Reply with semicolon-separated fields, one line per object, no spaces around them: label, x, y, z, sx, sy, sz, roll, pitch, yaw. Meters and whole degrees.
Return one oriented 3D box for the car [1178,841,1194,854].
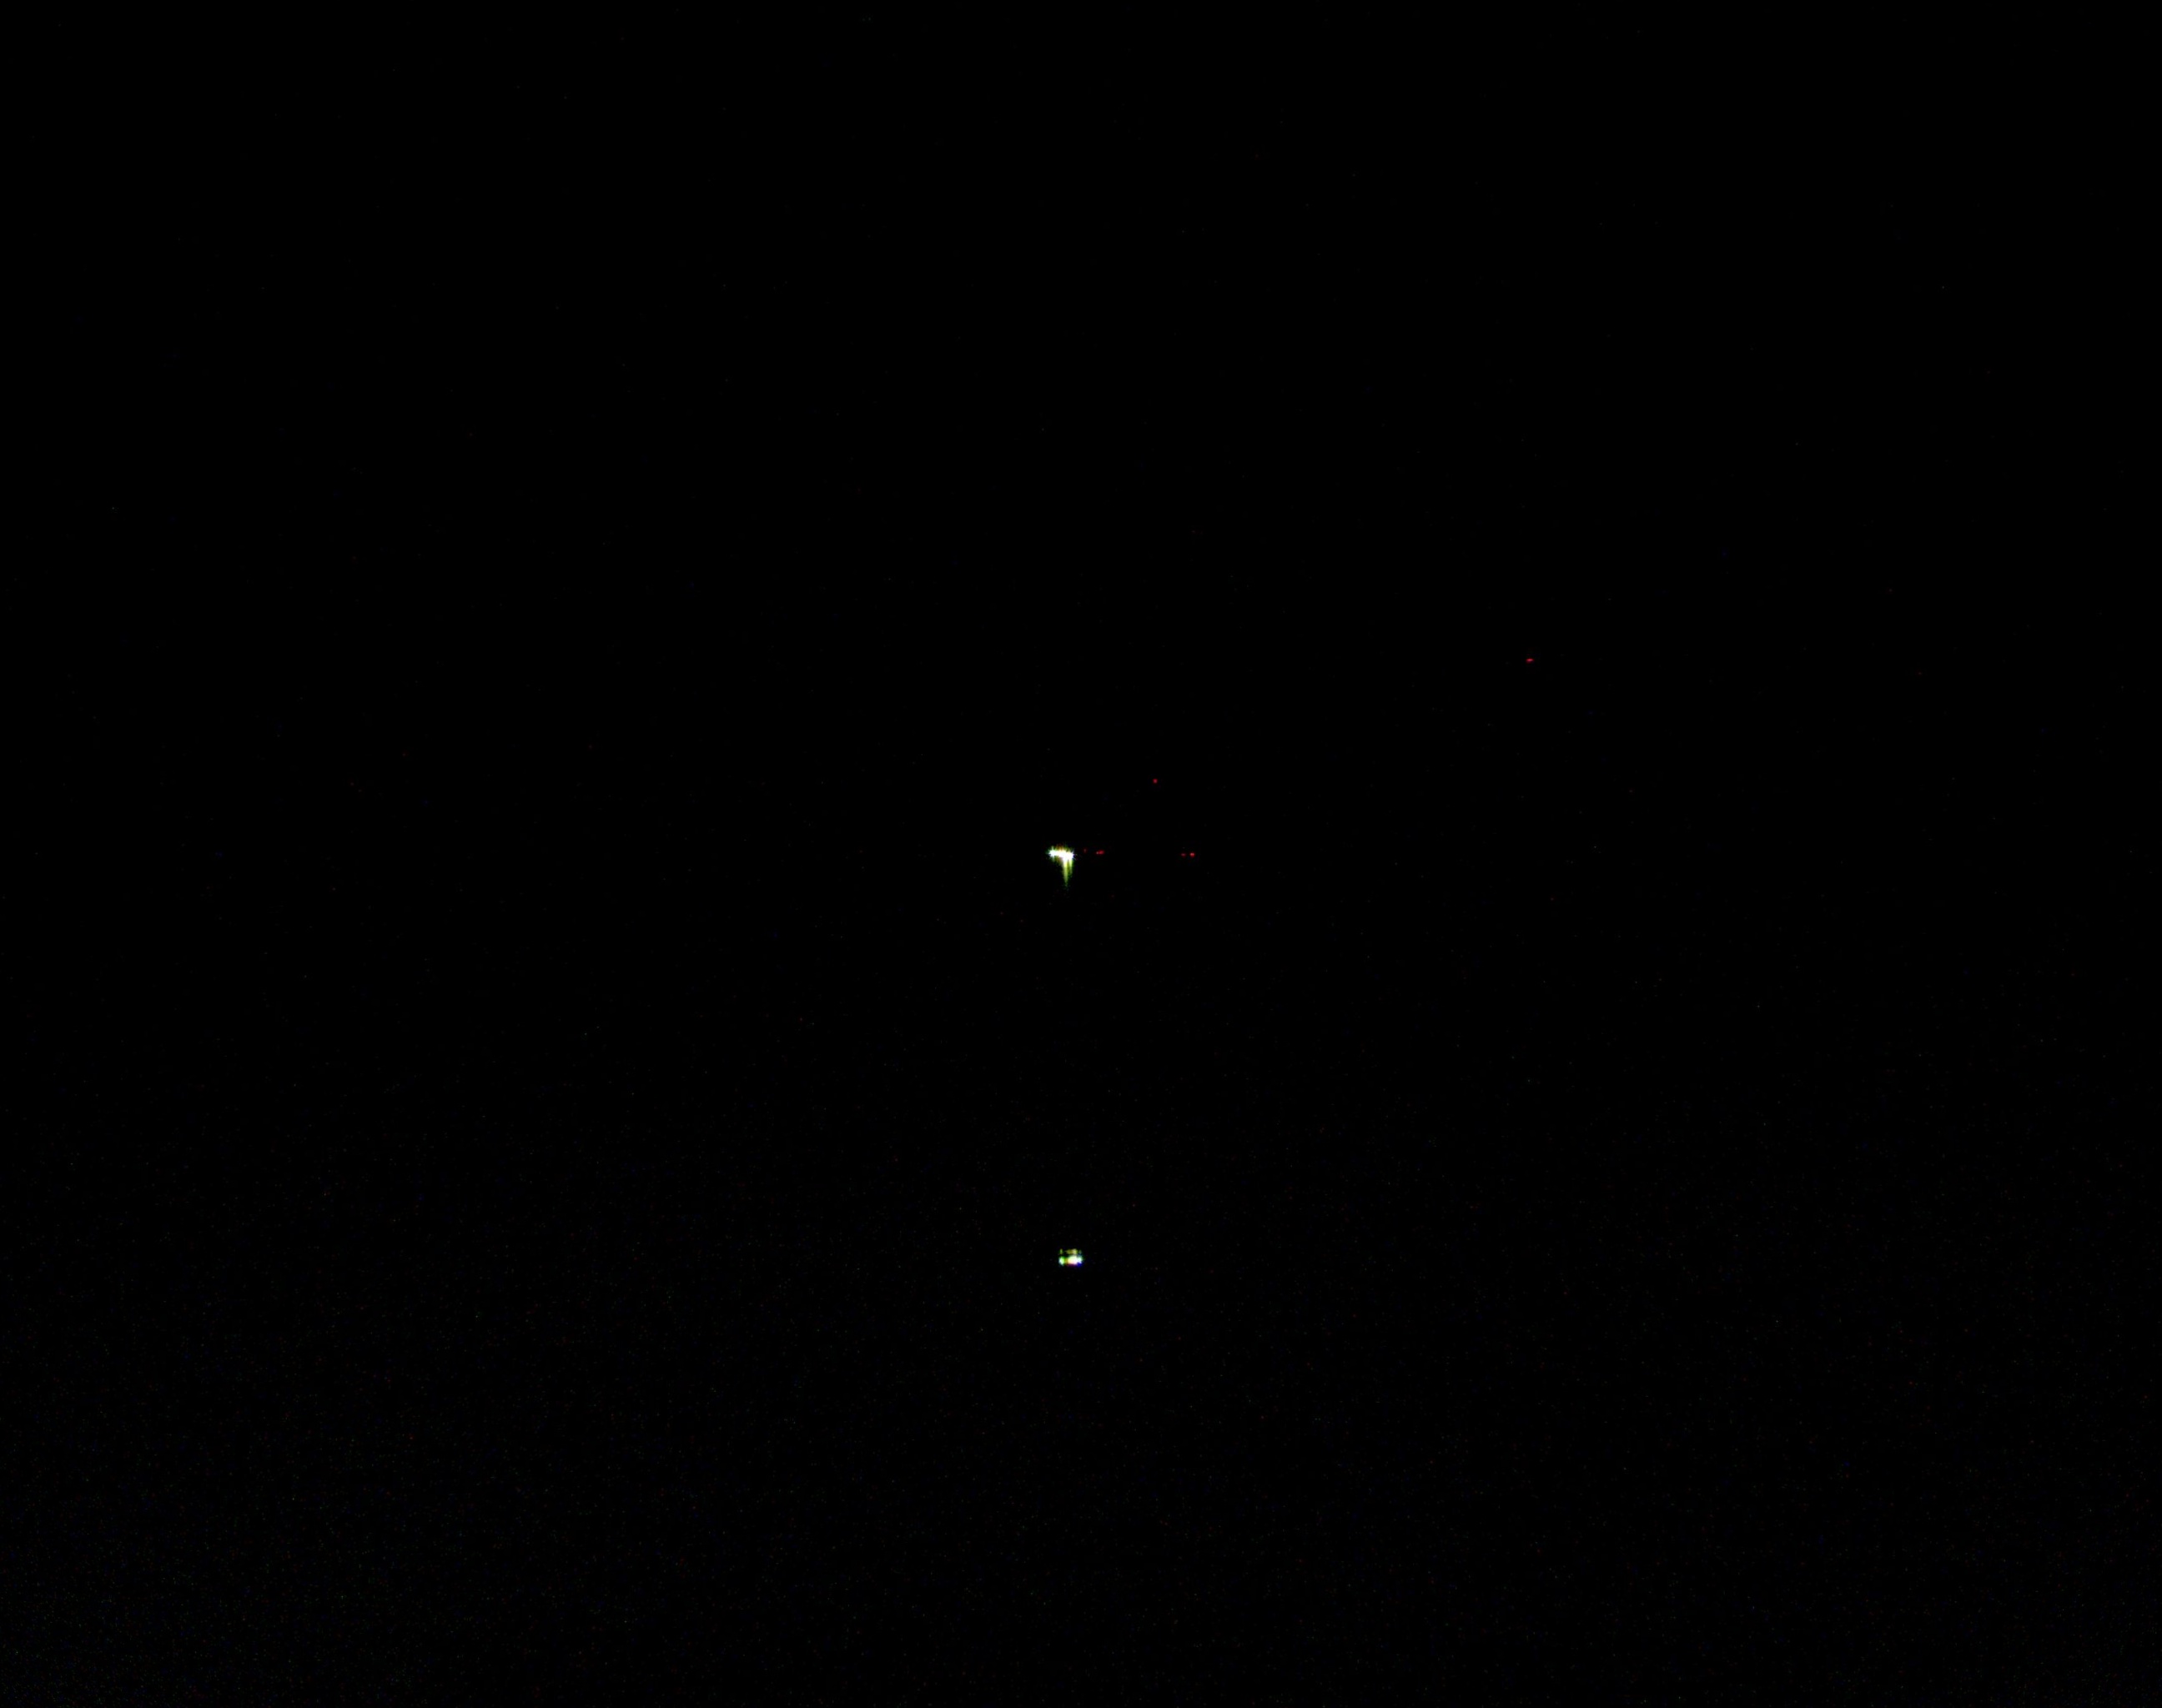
car;21.449;-1.417;155.452;2.397;2.438;6.669;-2;1;0

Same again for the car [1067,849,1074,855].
car;-3.024;-0.684;220.934;1.860;1.609;3.999;-2;1;-2
